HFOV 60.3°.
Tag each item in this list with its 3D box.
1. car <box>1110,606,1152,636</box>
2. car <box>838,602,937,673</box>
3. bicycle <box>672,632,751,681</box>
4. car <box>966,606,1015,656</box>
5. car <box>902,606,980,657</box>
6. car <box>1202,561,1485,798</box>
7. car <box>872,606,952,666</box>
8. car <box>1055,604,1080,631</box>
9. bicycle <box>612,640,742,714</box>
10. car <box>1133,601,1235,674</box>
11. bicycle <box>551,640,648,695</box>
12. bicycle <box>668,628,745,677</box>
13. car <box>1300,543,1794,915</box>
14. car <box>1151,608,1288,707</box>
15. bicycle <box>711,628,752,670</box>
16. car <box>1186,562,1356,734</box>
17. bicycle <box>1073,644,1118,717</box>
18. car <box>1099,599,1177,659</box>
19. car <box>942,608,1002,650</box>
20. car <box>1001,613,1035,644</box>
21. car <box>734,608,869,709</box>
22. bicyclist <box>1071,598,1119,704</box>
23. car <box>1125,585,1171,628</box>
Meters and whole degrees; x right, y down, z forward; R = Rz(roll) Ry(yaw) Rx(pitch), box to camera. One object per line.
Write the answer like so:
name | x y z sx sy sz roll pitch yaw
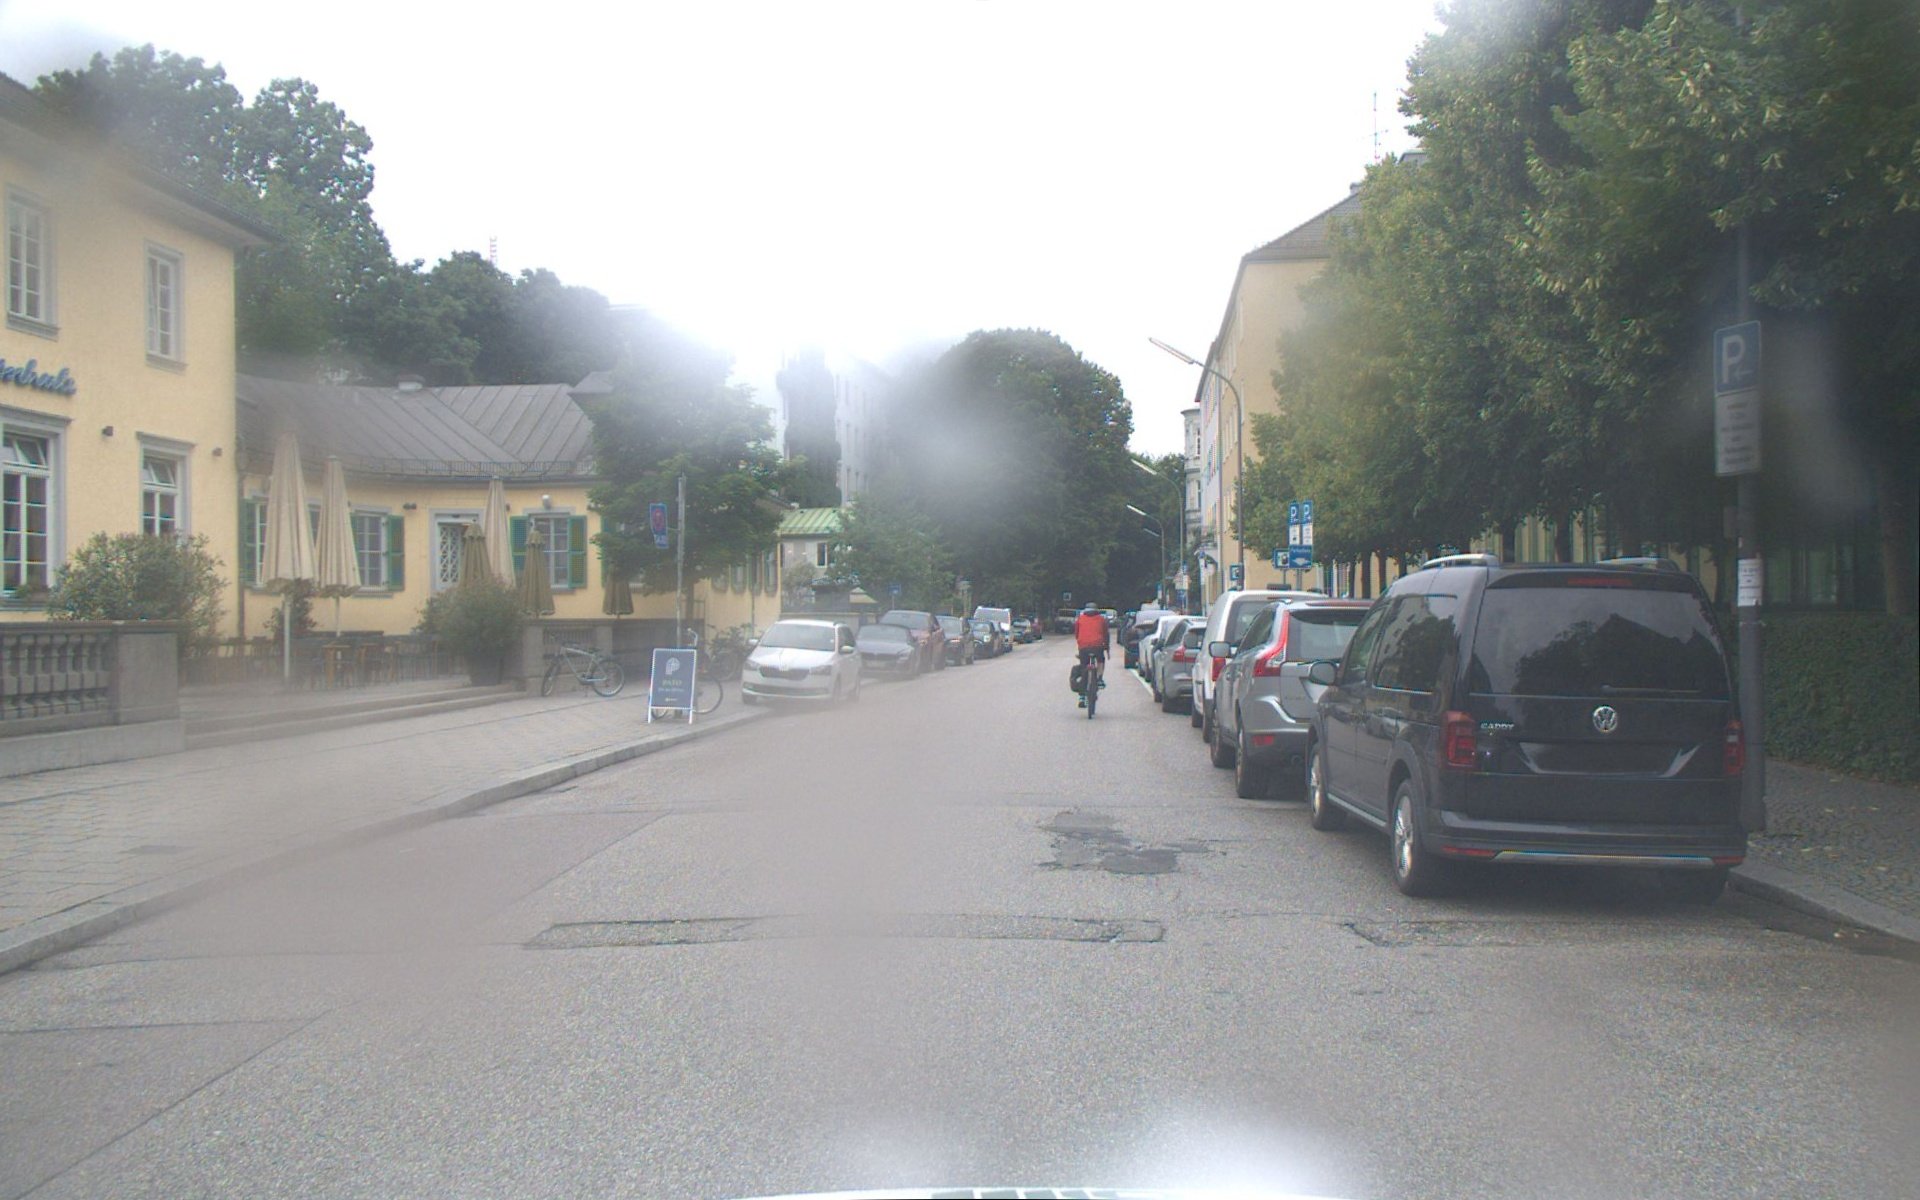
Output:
car | 9.232 1.139 89.561 1.952 1.579 4.001 0 0 2
car | -1.777 0.907 41.995 1.951 1.677 4.657 -1 0 4
bicycle | -5.411 1.227 36.040 1.592 1.022 0.619 0 -2 -23
car | 1.381 1.352 73.444 1.952 2.116 4.002 -1 0 4
car | -0.574 1.000 54.028 1.951 1.512 4.003 1 0 7
car | 3.321 0.624 15.165 1.824 1.825 4.512 -1 0 4
car | -1.315 1.019 47.063 1.952 1.631 4.001 0 -1 3
car | 8.683 1.400 133.747 1.952 2.135 4.002 2 0 4
bicycle | -4.244 1.143 24.945 0.611 1.021 2.133 2 0 34
car | 5.138 0.830 38.380 1.952 1.579 4.001 0 0 2
bicycle | -6.408 1.193 29.367 1.592 0.942 0.647 0 -2 -23
bicycle | -5.718 1.180 37.344 1.599 1.022 0.616 -1 -1 -34
car | 3.355 0.646 10.337 1.724 1.855 4.140 0 0 2
car | 4.136 0.873 26.888 1.824 1.465 4.257 0 0 4
bicycle | -5.692 1.214 41.227 0.608 1.022 1.620 0 -2 7
car | 3.907 0.557 21.360 1.713 1.977 4.230 -1 0 5
bicycle | 1.987 1.163 24.370 0.608 1.022 2.141 -1 -2 4
car | 5.105 0.801 47.770 1.952 1.646 4.001 0 0 2
car | 0.502 1.117 64.881 1.951 1.512 4.003 -1 0 6
car | 3.390 1.647 96.164 1.772 1.712 4.002 -1 0 4
car | -2.742 0.983 29.423 1.697 1.609 3.789 2 0 4
bicyclist | 1.980 0.750 24.307 0.657 1.524 1.095 -1 -2 4
car | 9.501 0.317 83.971 1.952 2.096 4.625 0 0 2
